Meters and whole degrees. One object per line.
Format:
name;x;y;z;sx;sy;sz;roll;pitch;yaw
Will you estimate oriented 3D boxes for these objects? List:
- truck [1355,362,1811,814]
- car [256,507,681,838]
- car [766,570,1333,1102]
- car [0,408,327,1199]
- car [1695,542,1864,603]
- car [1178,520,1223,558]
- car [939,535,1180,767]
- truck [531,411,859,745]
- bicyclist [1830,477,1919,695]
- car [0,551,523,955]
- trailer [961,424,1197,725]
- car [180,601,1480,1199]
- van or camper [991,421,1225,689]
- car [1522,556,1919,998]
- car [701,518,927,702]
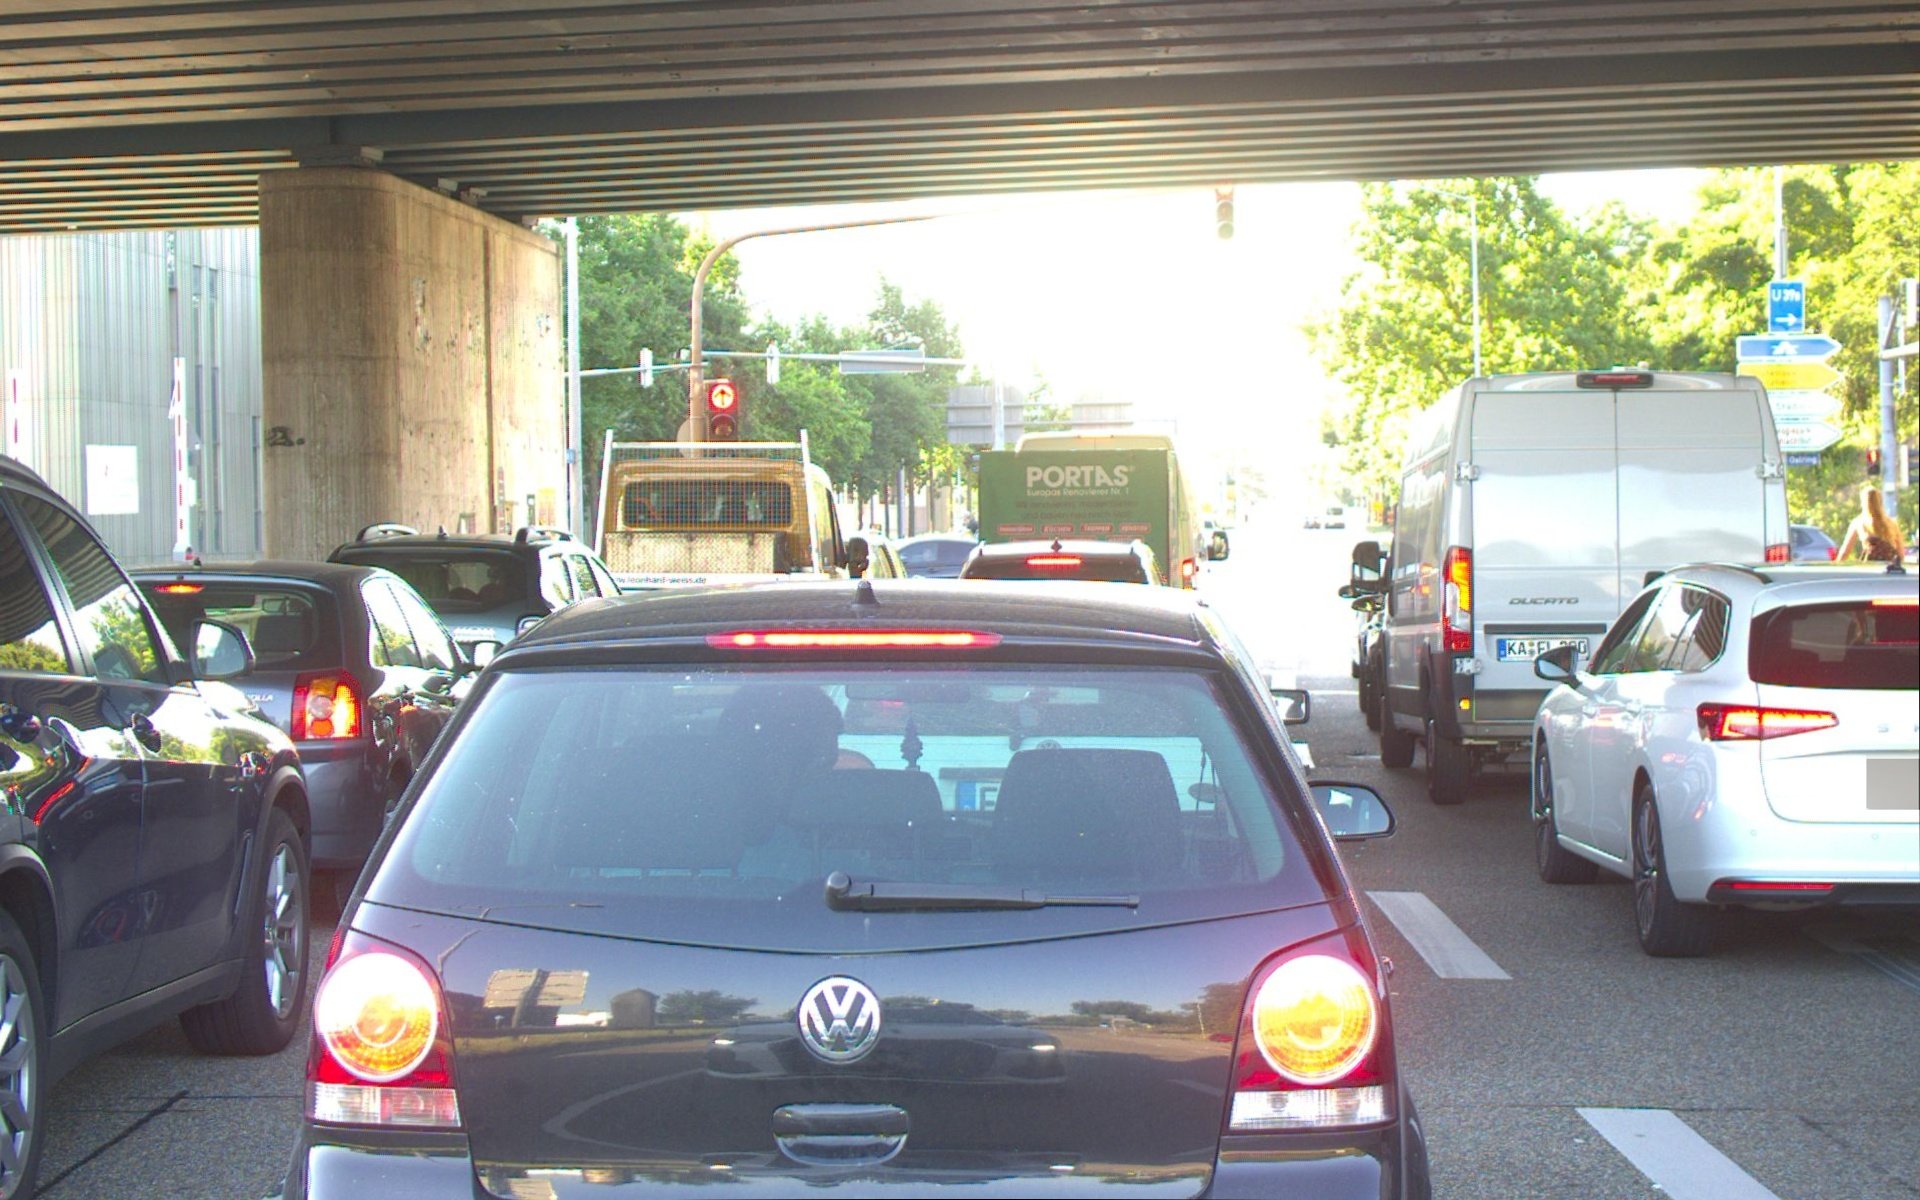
truck;3.804;-0.075;21.801;2.111;2.511;4.401;-2;0;1
car;-2.876;0.395;20.962;1.841;1.713;4.000;-4;0;1
car;0.296;0.643;11.330;1.547;1.418;3.417;2;1;2
car;-2.889;0.480;8.384;1.829;1.732;4.461;-1;0;0
car;14.787;-0.489;62.113;2.823;1.077;1.218;0;0;7
car;9.096;-2.298;130.106;1.339;1.277;2.893;-4;0;-1
car;0.745;0.341;24.531;1.582;1.527;3.831;0;0;3
truck;-2.117;-0.171;29.127;2.028;2.548;5.537;0;0;3
bicyclist;8.135;-0.124;30.500;0.682;1.900;0.833;0;0;6
car;-3.073;0.585;14.828;1.841;1.435;3.675;-4;0;0
trailer;1.122;-0.213;30.534;1.864;2.456;3.831;-2;0;4
car;-0.200;0.710;6.100;1.581;1.404;3.832;0;0;-1
van or camper;1.642;-0.432;35.910;1.994;2.562;5.916;0;0;7
car;3.380;0.593;13.659;1.772;1.490;3.831;-2;0;2
car;-1.538;0.107;37.663;1.994;1.894;3.999;-1;0;5
